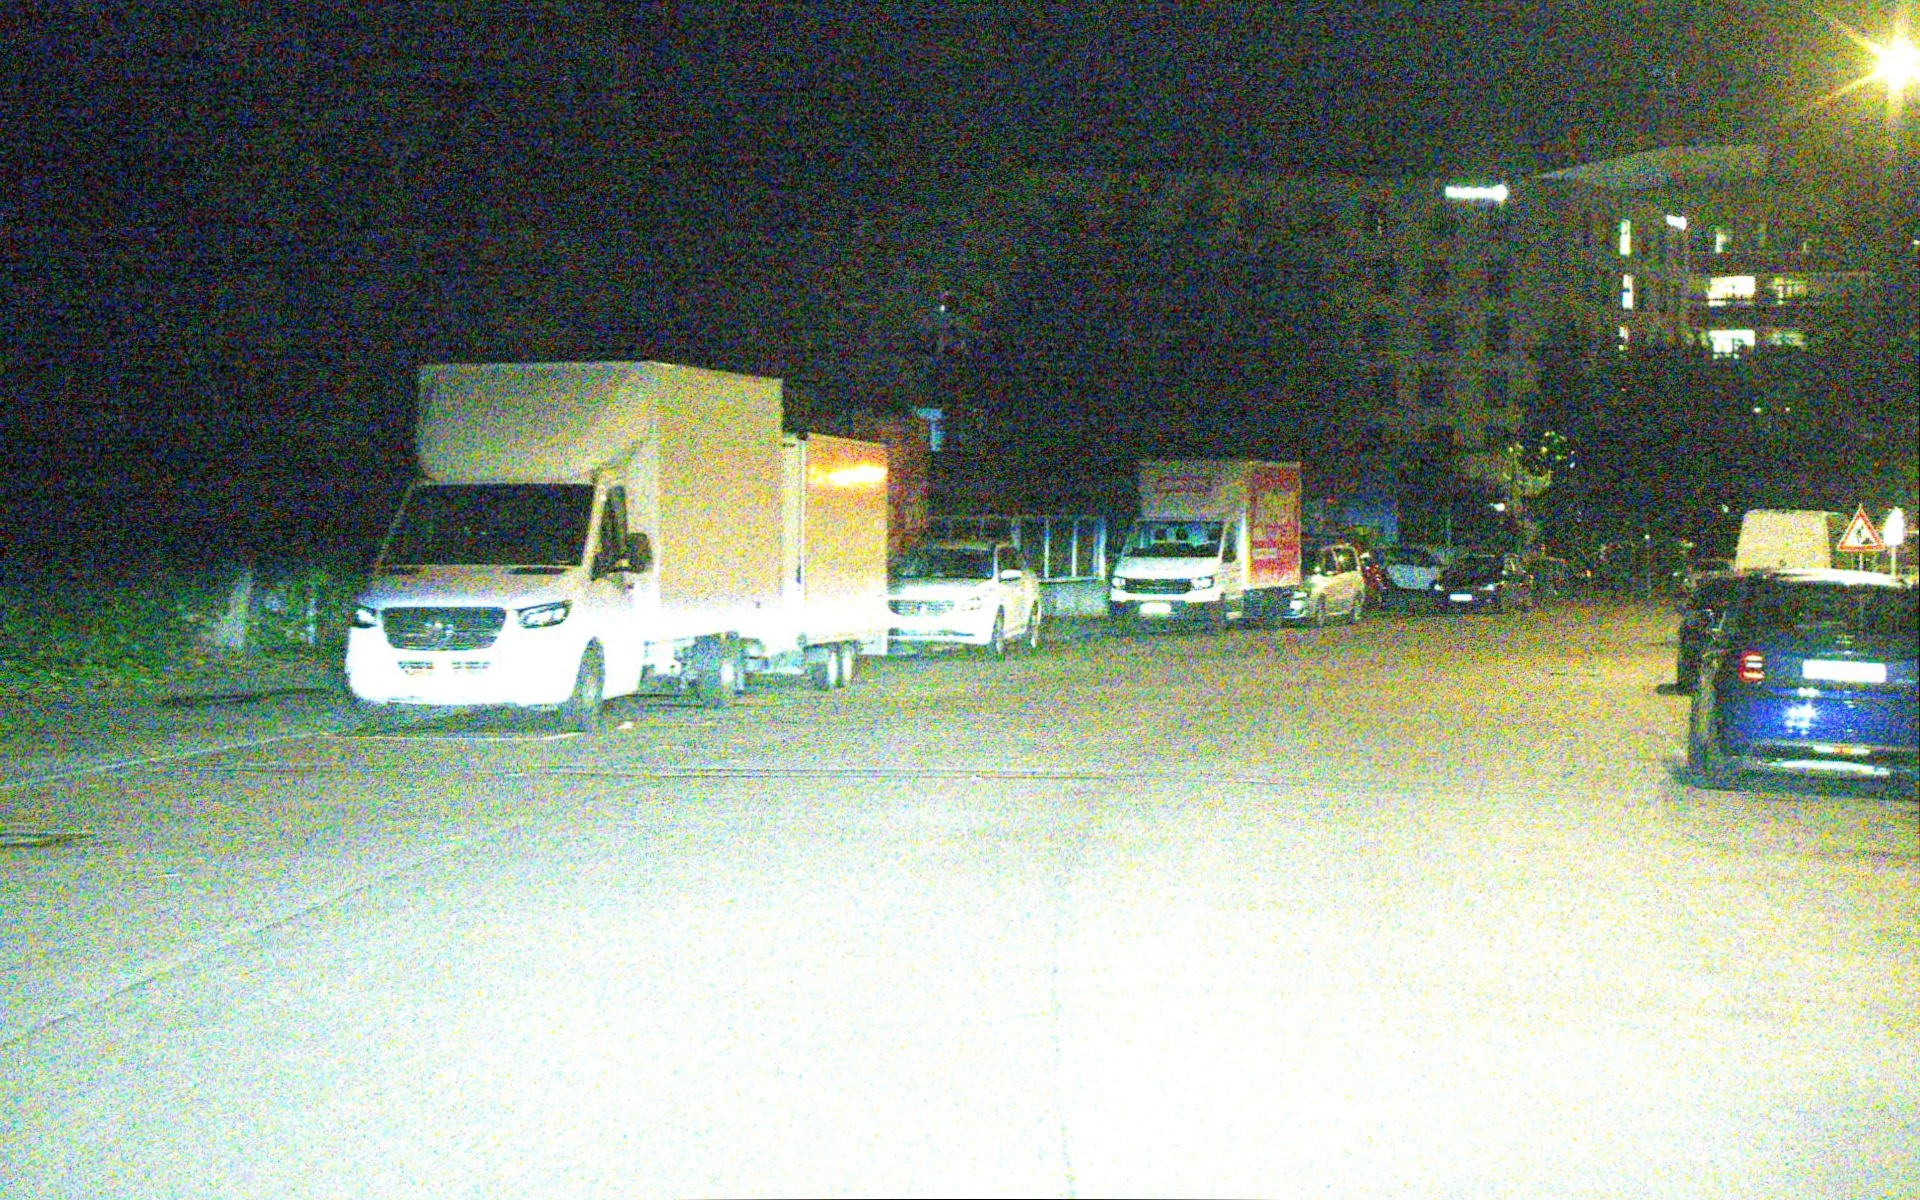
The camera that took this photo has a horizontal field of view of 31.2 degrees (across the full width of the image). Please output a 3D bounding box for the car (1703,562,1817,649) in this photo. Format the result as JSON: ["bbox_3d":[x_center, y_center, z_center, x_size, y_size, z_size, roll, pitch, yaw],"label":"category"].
[{"bbox_3d":[14.564,0.068,62.445,1.712,1.503,4.636,1,1,17],"label":"car"}]

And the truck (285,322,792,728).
[{"bbox_3d":[-3.582,-0.649,31.190,2.374,3.232,7.228,1,1,12],"label":"truck"}]

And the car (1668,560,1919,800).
[{"bbox_3d":[6.032,0.510,24.511,1.609,1.506,3.824,3,1,8],"label":"car"}]

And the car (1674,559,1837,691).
[{"bbox_3d":[9.829,0.271,42.709,1.711,1.503,3.998,2,1,10],"label":"car"}]

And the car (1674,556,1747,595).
[{"bbox_3d":[27.358,-0.906,125.201,1.913,1.399,4.333,0,1,22],"label":"car"}]

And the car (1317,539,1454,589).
[{"bbox_3d":[13.490,-1.143,108.932,3.991,1.565,1.815,0,1,21],"label":"car"}]

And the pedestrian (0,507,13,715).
[{"bbox_3d":[-8.244,0.093,27.521,0.779,1.665,1.004,0,1,36],"label":"pedestrian"}]

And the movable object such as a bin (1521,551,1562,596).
[{"bbox_3d":[19.276,-0.884,113.971,1.165,1.490,1.064,1,1,18],"label":"movable object such as a bin"}]

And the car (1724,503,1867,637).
[{"bbox_3d":[16.757,-0.605,68.723,2.023,2.518,6.045,2,1,20],"label":"car"}]

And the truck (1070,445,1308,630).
[{"bbox_3d":[4.400,-1.156,64.474,2.546,3.269,7.305,1,1,20],"label":"truck"}]

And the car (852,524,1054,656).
[{"bbox_3d":[-0.037,-0.167,48.714,1.994,1.766,4.690,1,1,11],"label":"car"}]

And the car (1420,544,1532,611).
[{"bbox_3d":[13.199,-0.554,87.730,1.757,1.521,4.317,3,0,23],"label":"car"}]

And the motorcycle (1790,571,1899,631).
[{"bbox_3d":[18.662,0.021,72.607,0.766,1.179,2.185,1,1,-38],"label":"motorcycle"}]

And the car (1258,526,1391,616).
[{"bbox_3d":[9.741,-0.774,91.469,1.996,2.313,4.960,-1,0,25],"label":"car"}]

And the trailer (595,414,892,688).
[{"bbox_3d":[-2.278,-0.537,37.573,2.205,2.786,4.614,1,1,10],"label":"trailer"}]

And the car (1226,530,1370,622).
[{"bbox_3d":[6.994,-0.504,70.703,1.831,1.810,4.833,0,1,20],"label":"car"}]
